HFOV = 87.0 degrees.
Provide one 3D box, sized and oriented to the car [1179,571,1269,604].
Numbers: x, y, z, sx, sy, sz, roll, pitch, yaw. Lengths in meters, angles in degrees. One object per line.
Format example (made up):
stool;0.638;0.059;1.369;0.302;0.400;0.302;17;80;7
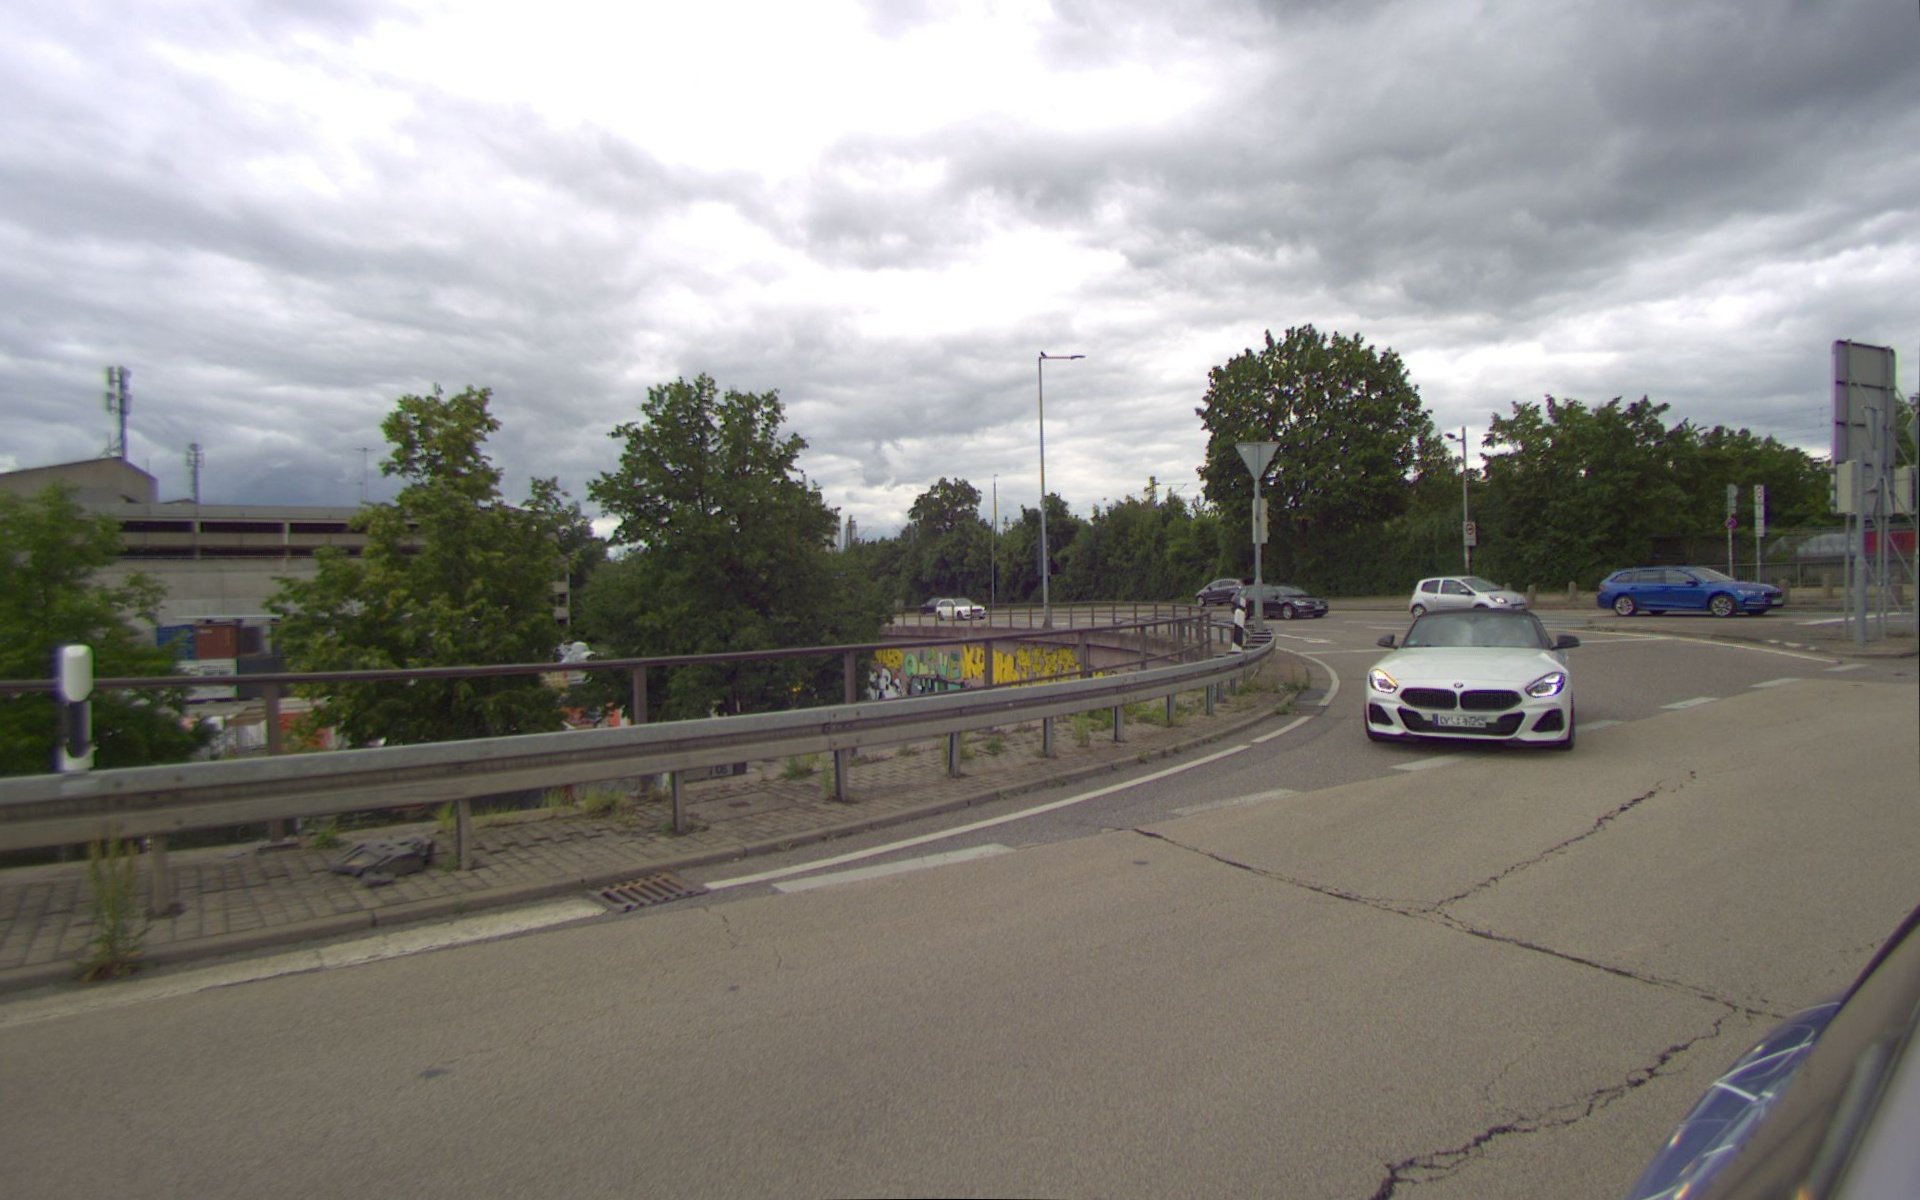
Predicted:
car;16.181;-0.735;62.330;2.092;1.777;5.498;-3;1;-29

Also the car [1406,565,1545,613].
car;16.544;-0.328;32.643;1.595;1.391;3.755;-3;1;-25

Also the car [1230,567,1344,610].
car;13.228;-0.424;41.218;1.909;1.576;4.300;-3;1;-27

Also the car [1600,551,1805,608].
car;21.255;-0.548;29.215;1.577;1.472;4.550;-3;1;-24

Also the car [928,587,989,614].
car;-0.144;0.072;66.631;1.841;1.580;4.719;-3;1;-30

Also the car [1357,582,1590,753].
car;5.850;0.584;11.298;1.848;1.361;4.773;-3;1;31
